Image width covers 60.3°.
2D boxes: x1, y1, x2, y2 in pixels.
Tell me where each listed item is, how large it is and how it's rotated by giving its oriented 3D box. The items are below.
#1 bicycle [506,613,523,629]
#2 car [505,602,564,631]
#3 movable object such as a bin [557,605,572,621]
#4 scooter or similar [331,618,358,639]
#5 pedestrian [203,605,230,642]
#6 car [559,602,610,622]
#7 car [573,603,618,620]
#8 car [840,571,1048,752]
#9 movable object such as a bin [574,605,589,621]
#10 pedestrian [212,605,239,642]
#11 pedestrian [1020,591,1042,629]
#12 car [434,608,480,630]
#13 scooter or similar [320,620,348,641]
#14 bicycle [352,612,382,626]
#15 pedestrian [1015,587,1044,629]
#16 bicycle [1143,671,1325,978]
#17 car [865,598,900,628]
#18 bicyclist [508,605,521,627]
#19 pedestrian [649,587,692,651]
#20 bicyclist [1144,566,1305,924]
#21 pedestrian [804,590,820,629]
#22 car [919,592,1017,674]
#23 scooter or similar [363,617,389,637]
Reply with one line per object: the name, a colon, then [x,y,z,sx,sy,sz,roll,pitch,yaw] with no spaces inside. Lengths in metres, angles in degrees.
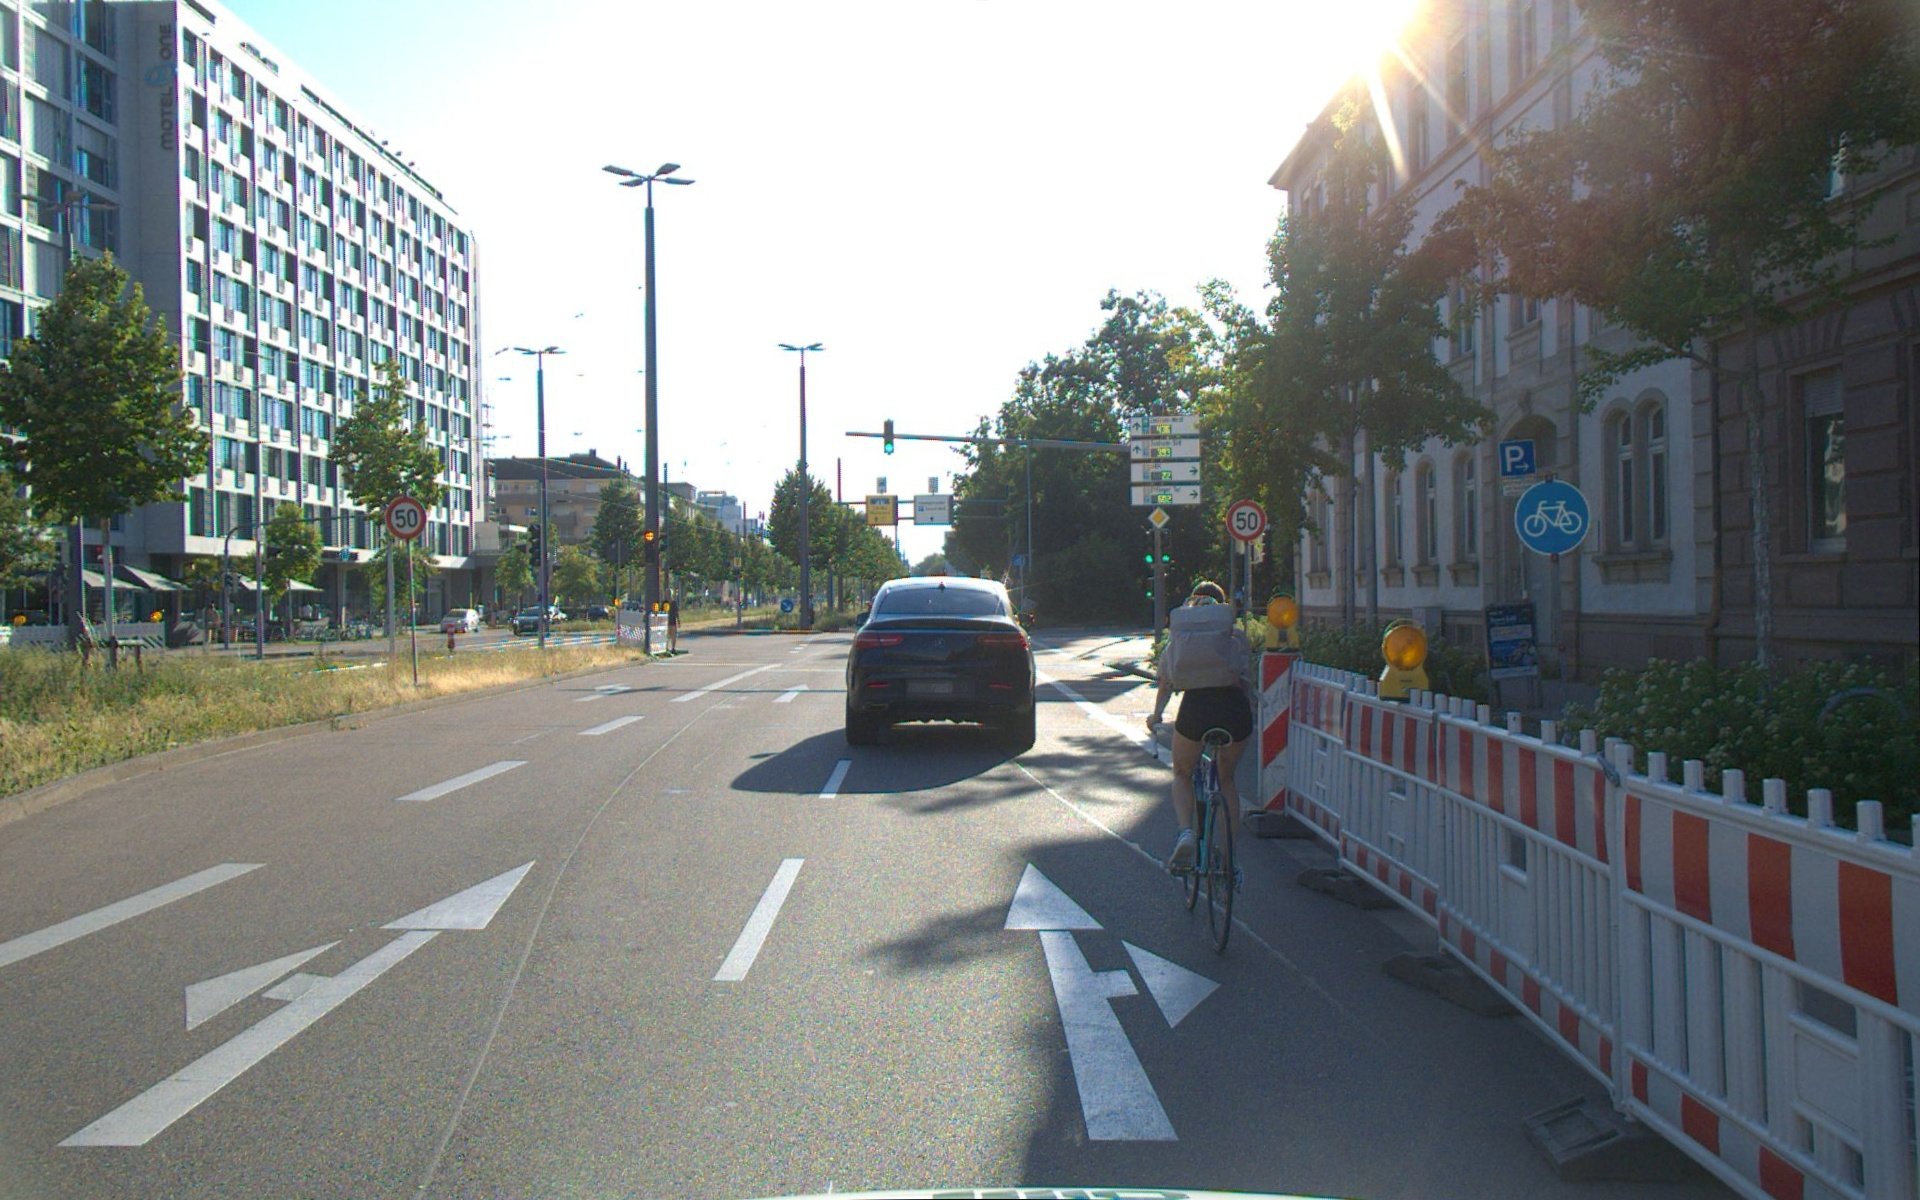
bicycle: [-29.989,1.400,111.336,0.612,1.085,2.078,-1,0,0]
car: [-21.921,0.839,85.335,1.853,1.367,4.849,-1,0,-1]
movable object such as a bin: [-33.519,1.116,140.249,0.839,1.381,0.940,-1,0,14]
scooter or similar: [-32.204,1.485,86.532,1.218,1.037,0.435,-1,0,0]
pedestrian: [-35.345,1.105,78.616,0.851,1.751,0.804,-1,0,9]
car: [-33.077,1.024,145.882,4.060,1.629,1.724,2,0,-42]
car: [-32.941,1.039,149.549,3.594,1.550,1.596,1,-1,-42]
car: [-0.057,0.568,18.158,1.951,1.765,4.002,0,1,4]
movable object such as a bin: [-32.163,1.125,140.590,0.839,1.303,0.940,-1,0,14]
pedestrian: [-35.276,1.104,79.411,0.851,1.751,0.804,-1,0,9]
pedestrian: [3.182,0.438,73.949,0.752,1.665,0.768,-3,0,-10]
car: [-32.197,1.226,106.037,1.721,1.351,4.000,0,0,0]
scooter or similar: [-32.165,1.588,85.006,1.218,1.037,0.511,-1,0,0]
bicycle: [-39.605,1.278,110.439,1.770,0.920,0.511,-1,0,-7]
pedestrian: [3.140,0.352,74.794,0.850,1.833,0.896,-3,0,-35]
bicycle: [1.196,0.937,7.530,0.510,1.116,1.843,-1,1,0]
car: [-4.359,0.735,93.348,1.847,1.608,3.999,0,1,-1]
bicyclist: [-29.981,1.068,111.355,0.612,1.490,0.851,-1,0,0]
pedestrian: [-7.766,0.508,44.420,0.904,1.678,0.766,-1,0,11]
bicyclist: [1.187,0.612,7.585,0.541,1.517,1.081,-1,0,0]
pedestrian: [-6.709,0.436,75.025,0.586,1.729,0.714,-1,0,5]
car: [0.121,0.615,33.659,1.858,1.554,4.058,0,0,-1]
scooter or similar: [-32.165,1.473,91.077,1.218,1.037,0.435,-1,0,0]
